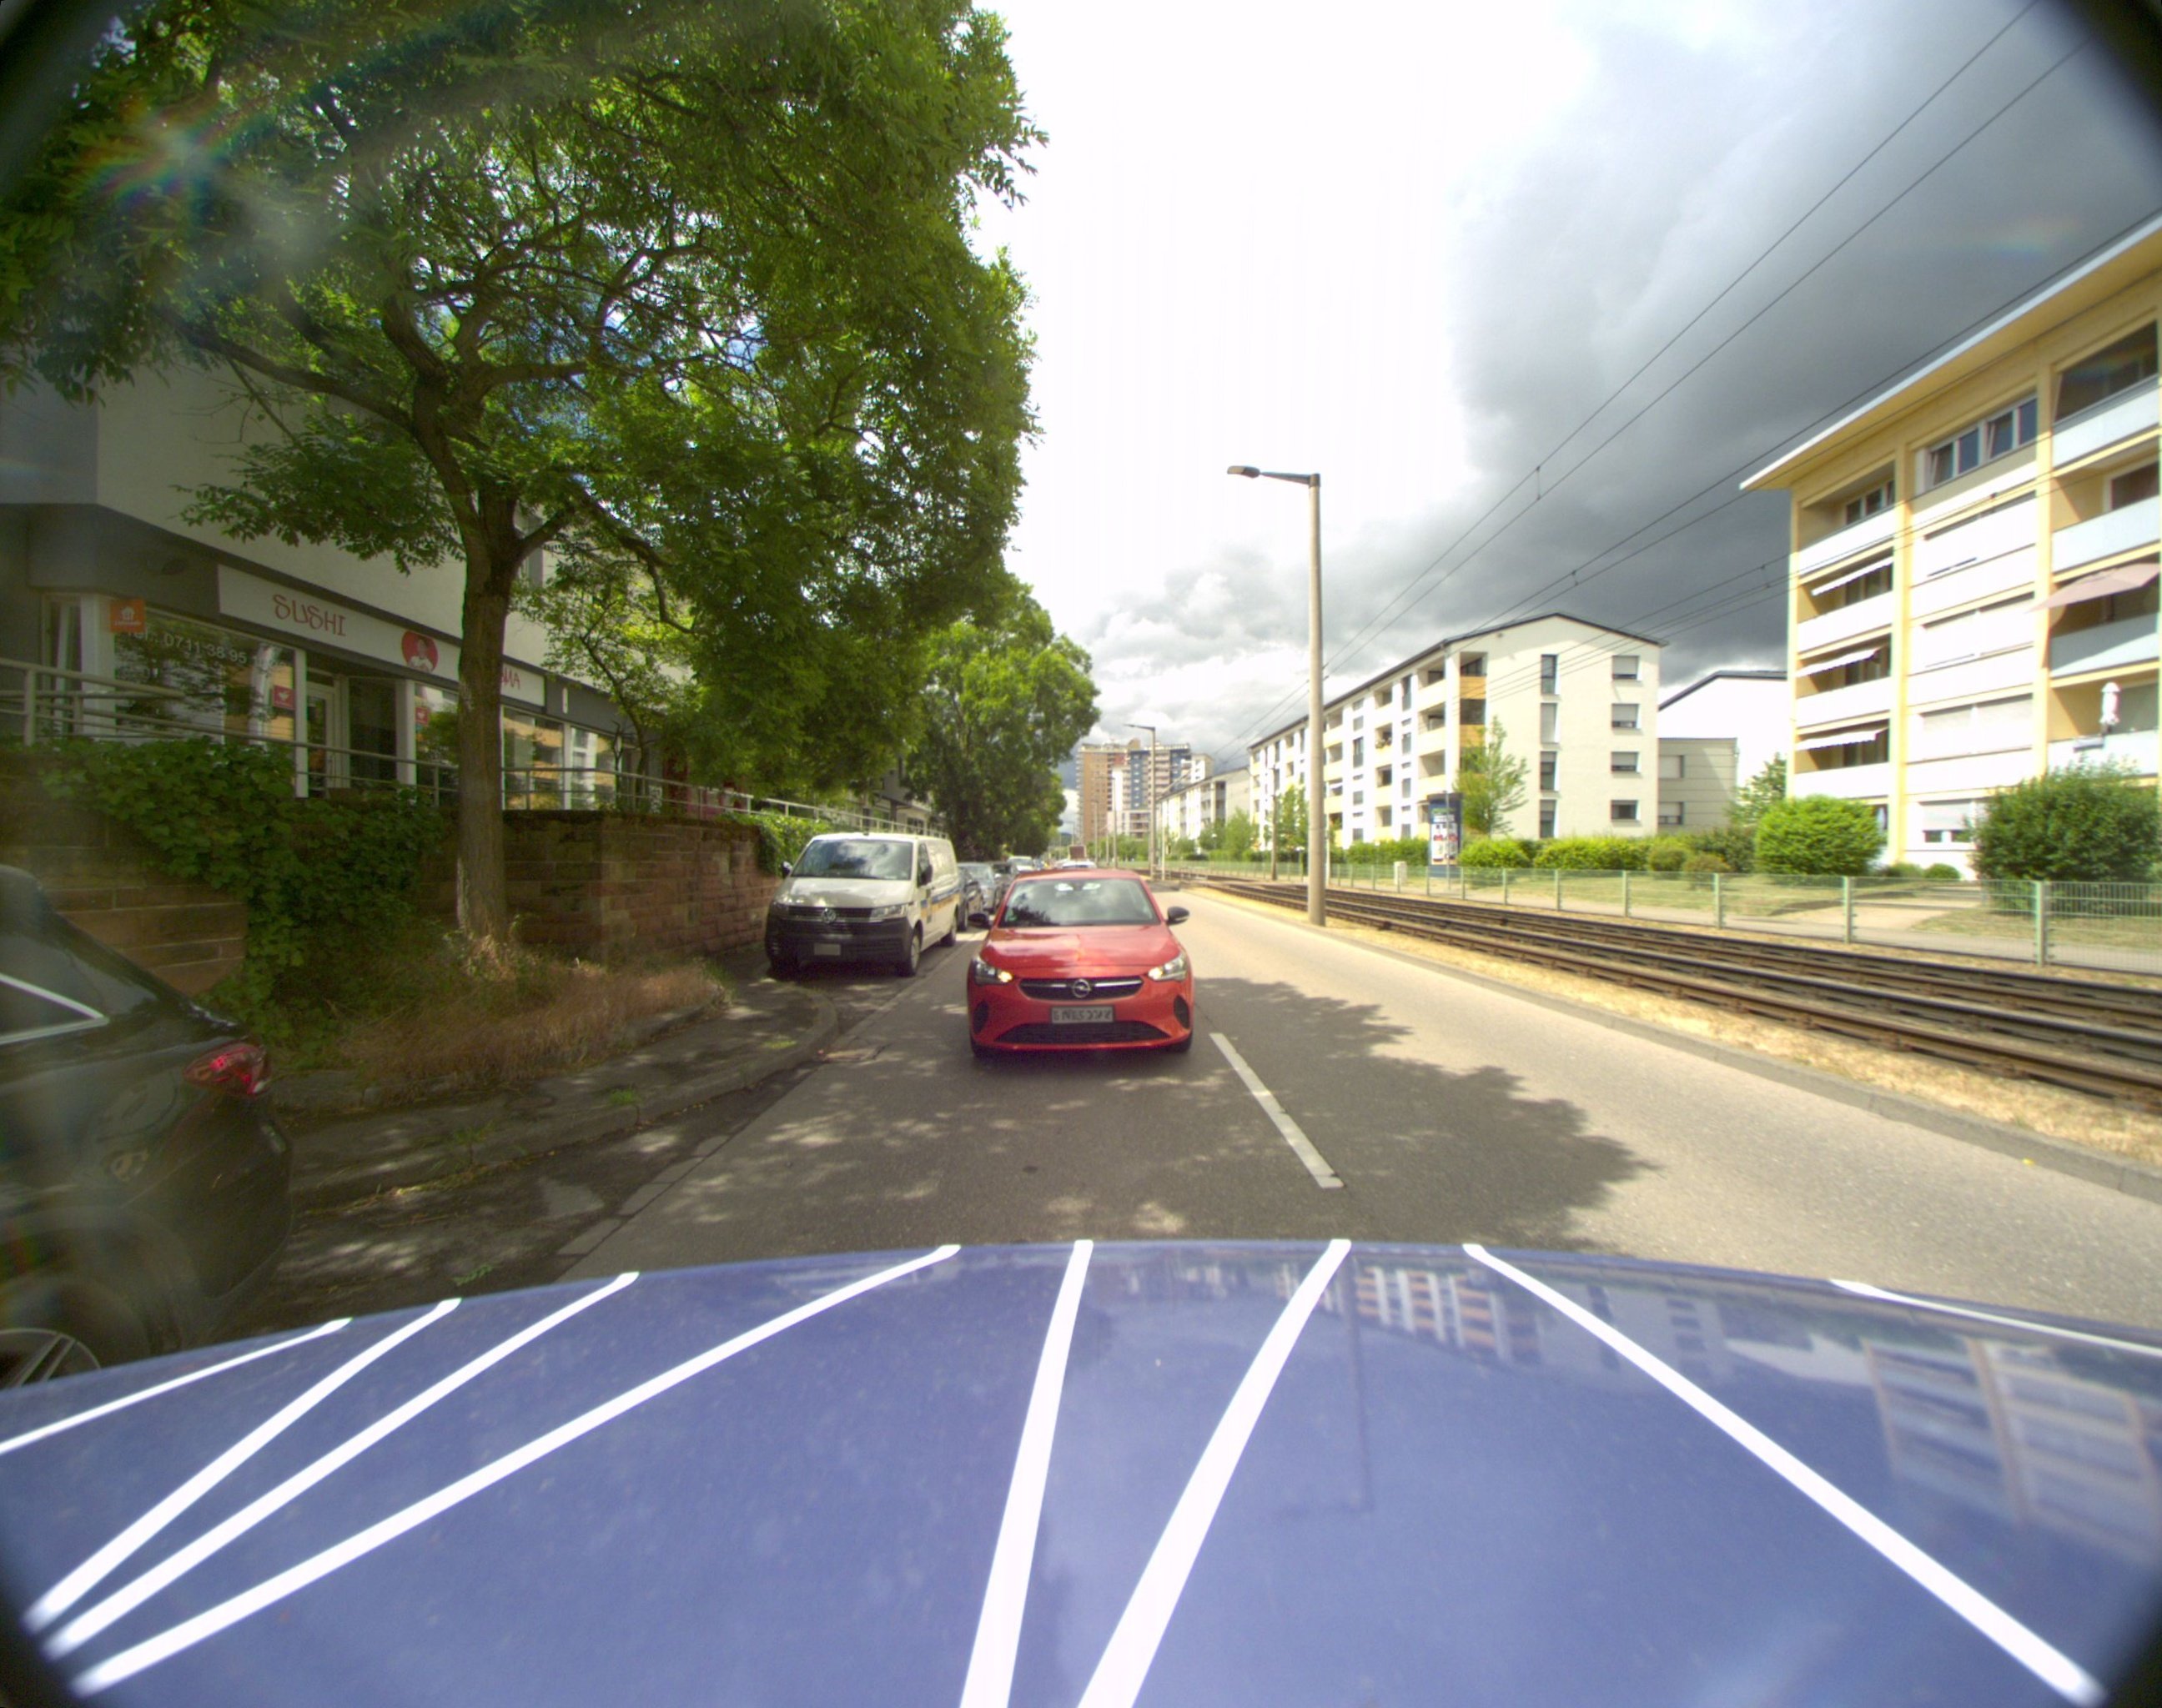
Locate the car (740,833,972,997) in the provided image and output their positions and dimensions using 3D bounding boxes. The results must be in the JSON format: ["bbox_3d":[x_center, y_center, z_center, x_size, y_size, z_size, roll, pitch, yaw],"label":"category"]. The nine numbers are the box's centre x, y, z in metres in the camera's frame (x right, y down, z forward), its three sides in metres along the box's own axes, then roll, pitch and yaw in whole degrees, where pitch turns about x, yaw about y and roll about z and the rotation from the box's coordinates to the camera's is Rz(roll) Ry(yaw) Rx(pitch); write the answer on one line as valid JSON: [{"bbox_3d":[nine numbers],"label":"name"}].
[{"bbox_3d":[-3.072,0.720,11.665,1.978,1.958,5.012,-1,1,1],"label":"car"}]

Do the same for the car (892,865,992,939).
[{"bbox_3d":[-3.111,1.027,17.634,1.578,1.420,3.734,-1,1,1],"label":"car"}]

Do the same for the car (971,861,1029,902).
[{"bbox_3d":[-3.099,1.019,29.729,1.784,1.420,4.147,0,0,1],"label":"car"}]

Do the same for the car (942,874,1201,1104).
[{"bbox_3d":[-0.020,0.958,7.078,1.723,1.434,4.000,0,0,1],"label":"car"}]

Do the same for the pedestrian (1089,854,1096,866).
[{"bbox_3d":[1.326,0.689,89.457,0.737,1.408,0.927,-3,1,-1],"label":"pedestrian"}]

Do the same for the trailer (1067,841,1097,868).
[{"bbox_3d":[-0.027,0.004,105.377,2.876,3.429,14.608,-3,1,-4],"label":"trailer"}]

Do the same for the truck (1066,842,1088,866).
[{"bbox_3d":[-0.667,-0.036,113.536,2.853,3.429,4.413,-3,1,-5],"label":"truck"}]

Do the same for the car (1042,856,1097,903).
[{"bbox_3d":[-0.416,0.921,29.210,1.927,1.543,3.999,-3,1,0],"label":"car"}]

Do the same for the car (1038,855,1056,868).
[{"bbox_3d":[-3.864,0.782,85.890,1.784,1.420,4.147,0,0,1],"label":"car"}]

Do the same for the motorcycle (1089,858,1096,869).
[{"bbox_3d":[1.344,1.101,89.454,0.783,1.181,1.869,-2,1,-1],"label":"motorcycle"}]

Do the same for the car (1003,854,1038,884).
[{"bbox_3d":[-3.532,0.862,45.016,1.819,1.644,4.146,-1,0,-2],"label":"car"}]

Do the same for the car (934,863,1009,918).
[{"bbox_3d":[-3.165,1.019,22.657,1.785,1.420,4.144,0,0,-2],"label":"car"}]

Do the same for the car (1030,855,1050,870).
[{"bbox_3d":[-4.258,0.858,79.110,1.784,1.420,4.147,-1,1,1],"label":"car"}]

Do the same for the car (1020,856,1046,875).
[{"bbox_3d":[-3.856,0.897,61.874,1.784,1.420,4.147,-1,1,1],"label":"car"}]
